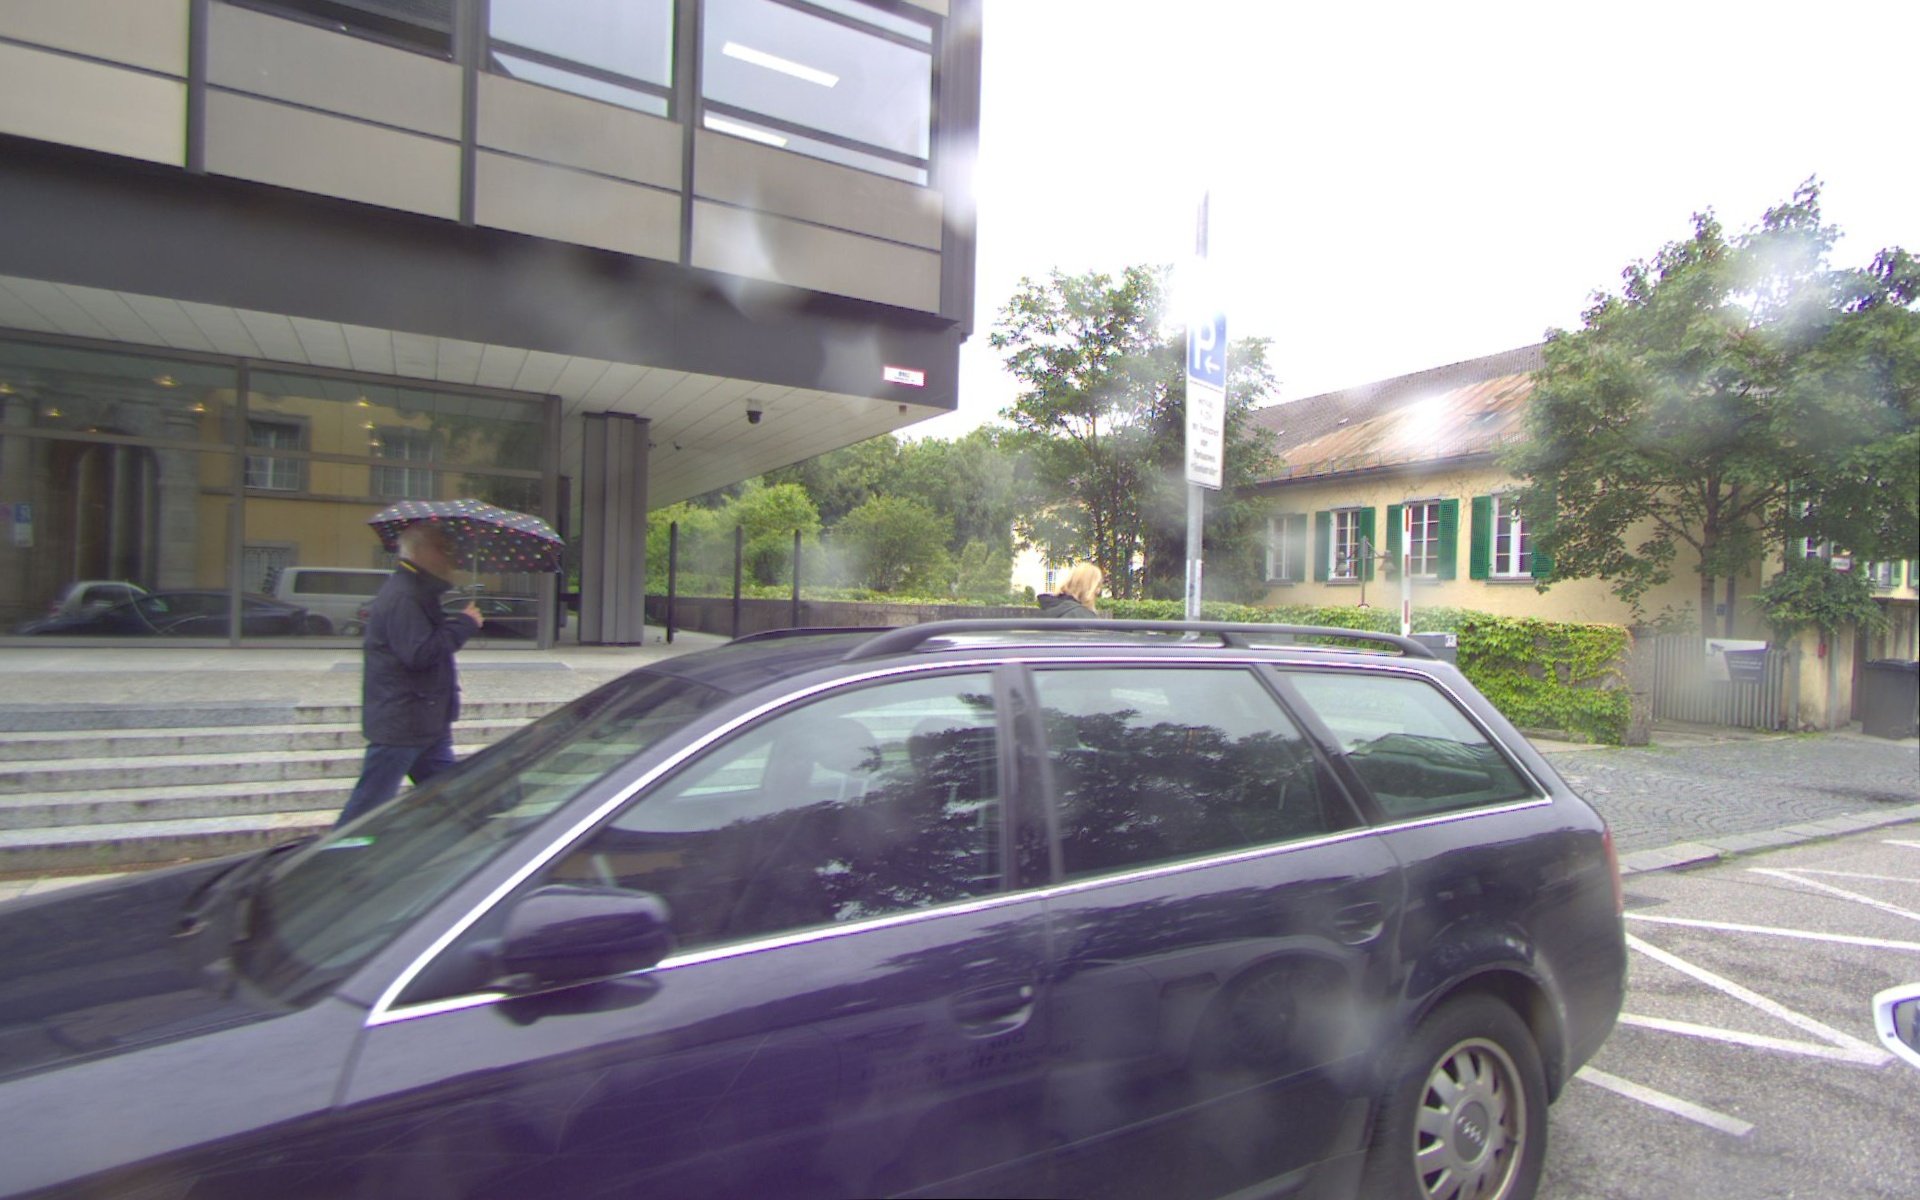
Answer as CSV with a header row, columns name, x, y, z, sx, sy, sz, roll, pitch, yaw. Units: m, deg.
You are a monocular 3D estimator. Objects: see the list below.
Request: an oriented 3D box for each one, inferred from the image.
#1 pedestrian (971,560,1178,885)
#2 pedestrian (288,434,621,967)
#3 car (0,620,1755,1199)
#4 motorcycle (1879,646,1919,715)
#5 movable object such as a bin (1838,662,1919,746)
name,x,y,z,sx,sy,sz,roll,pitch,yaw
pedestrian,0.685,0.676,6.056,0.942,1.772,0.748,2,0,-33
pedestrian,-2.348,0.411,4.722,1.207,2.082,1.130,2,-1,-30
car,-0.370,0.842,2.526,4.822,1.510,1.986,2,-2,-28
motorcycle,16.889,1.414,17.617,0.548,1.116,1.837,3,1,25
movable object such as a bin,13.157,1.444,14.172,0.831,1.078,0.930,1,0,-31
